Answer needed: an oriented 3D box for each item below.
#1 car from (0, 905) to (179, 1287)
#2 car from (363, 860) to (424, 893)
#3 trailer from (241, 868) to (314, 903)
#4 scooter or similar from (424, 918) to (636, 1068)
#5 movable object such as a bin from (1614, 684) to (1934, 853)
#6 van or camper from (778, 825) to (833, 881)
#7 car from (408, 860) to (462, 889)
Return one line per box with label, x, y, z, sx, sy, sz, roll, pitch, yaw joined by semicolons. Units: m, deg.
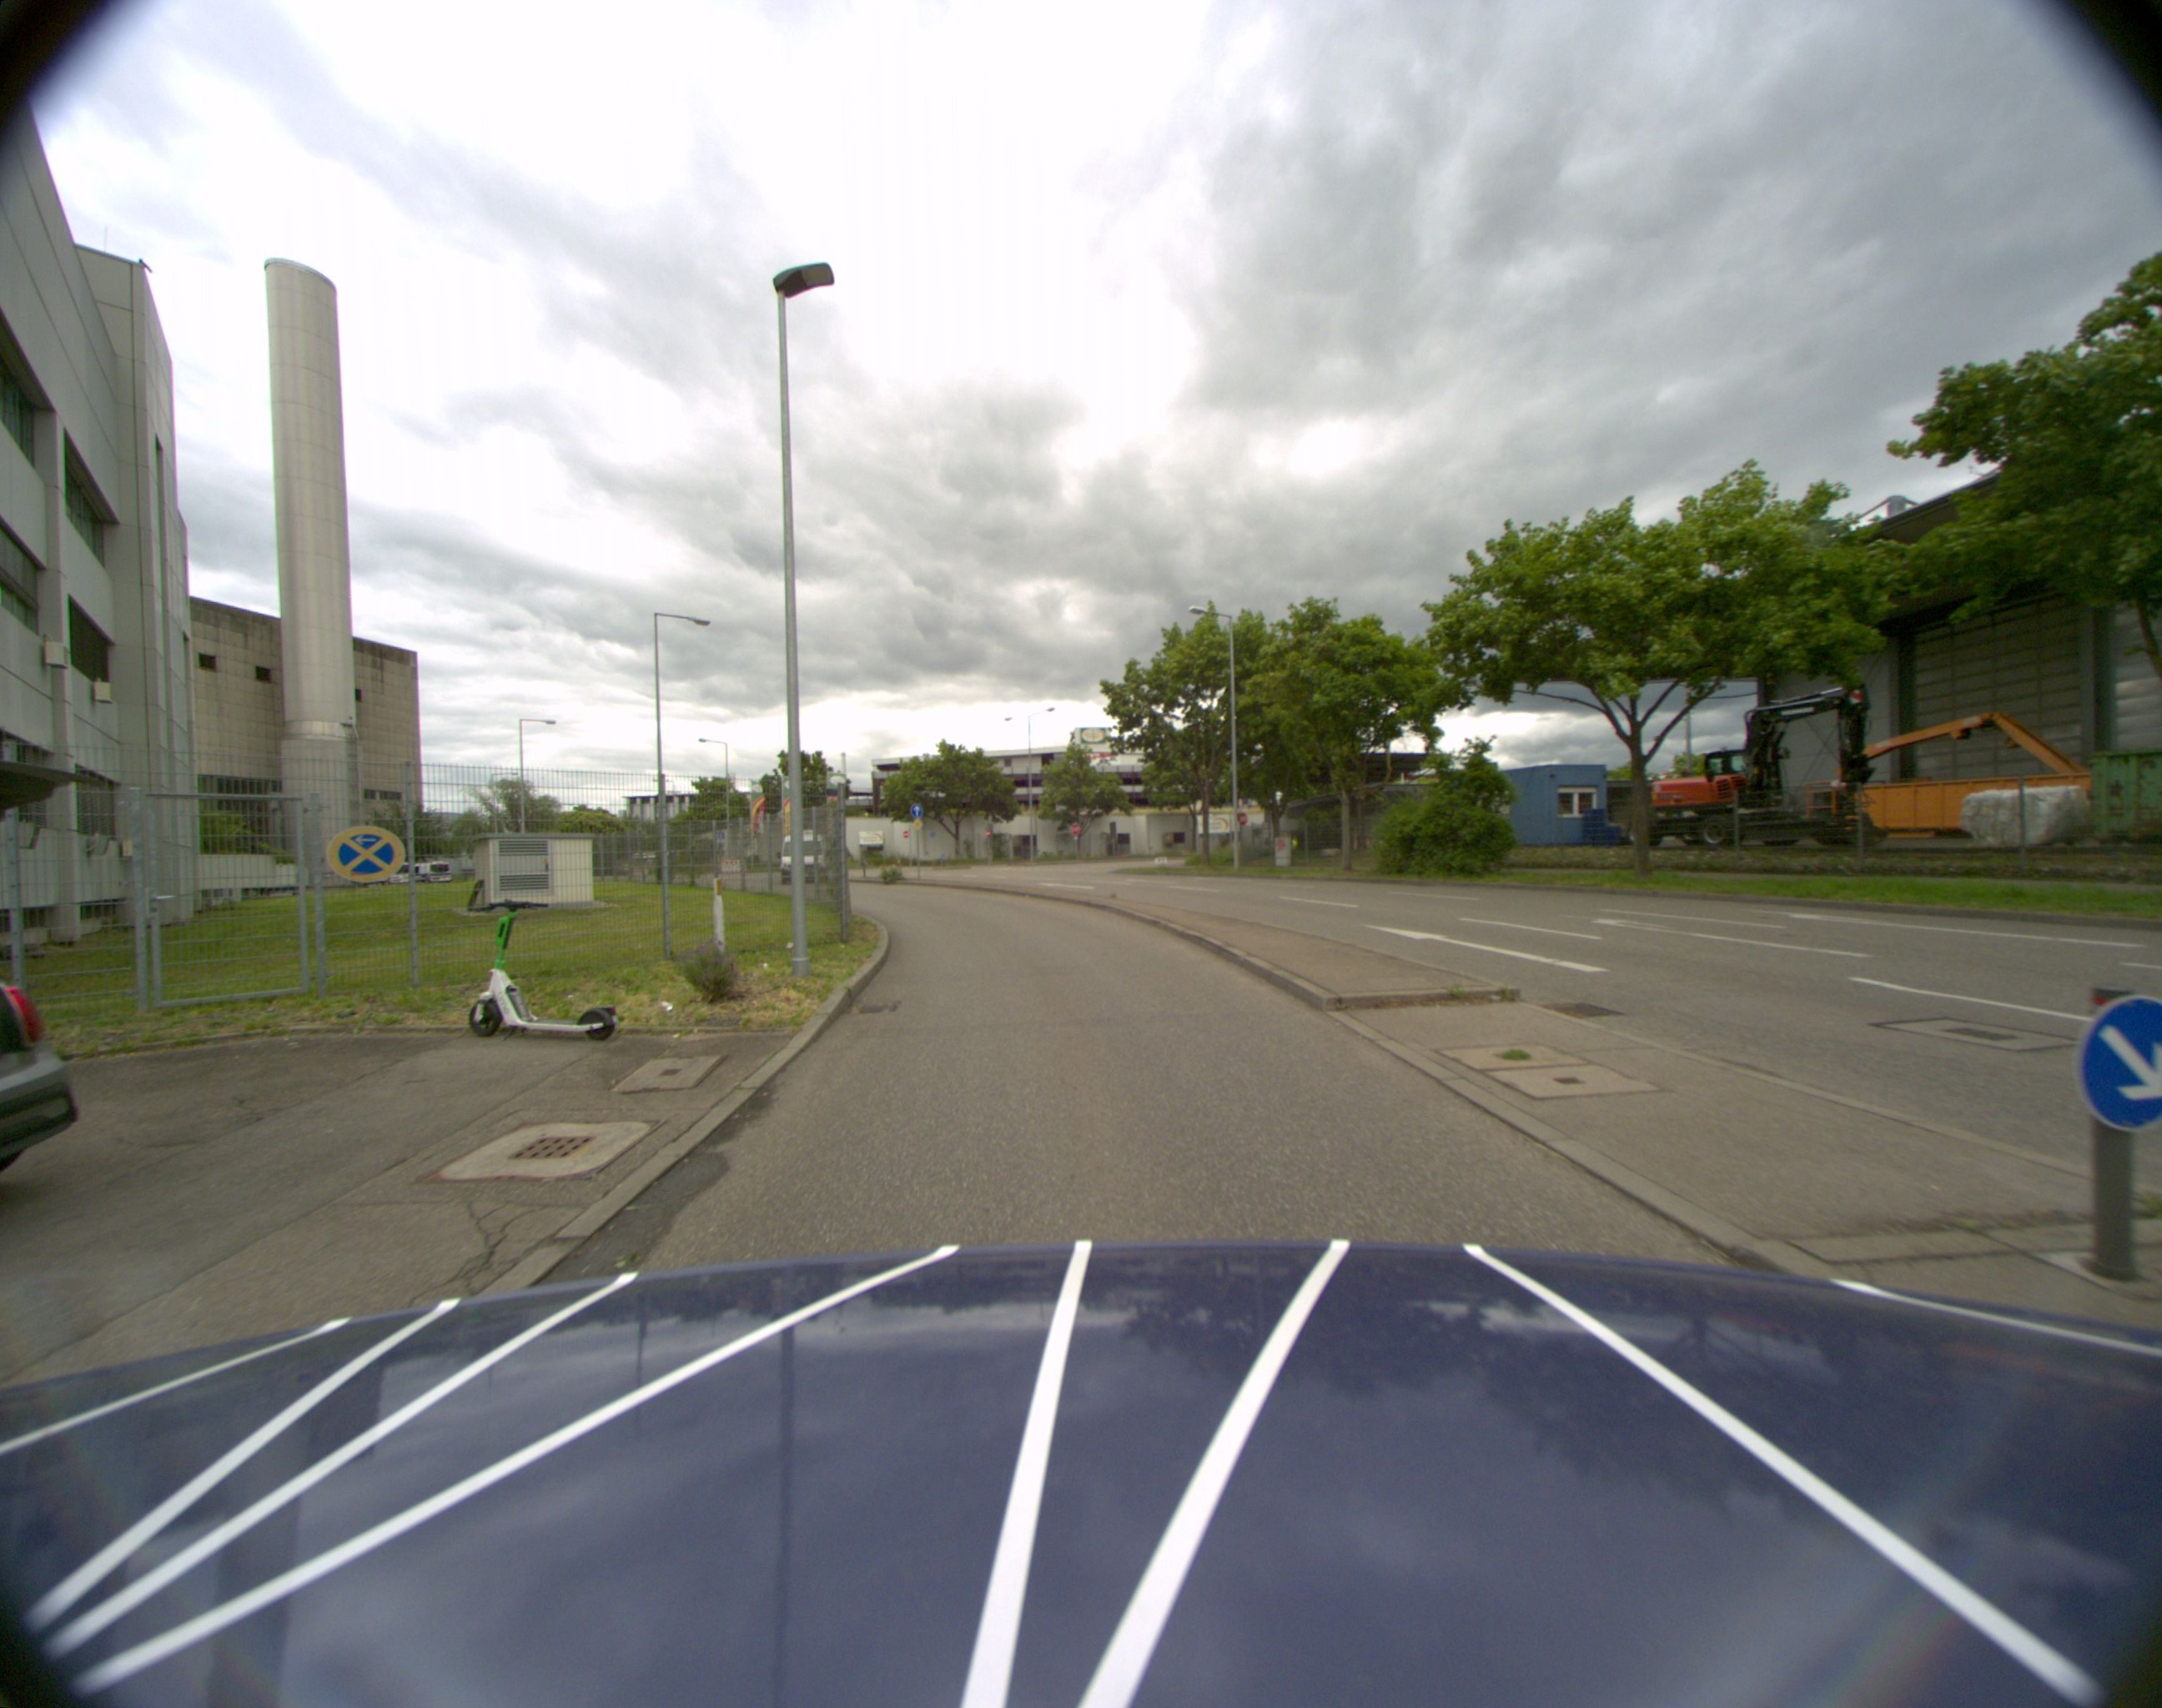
car;-6.083;1.008;2.231;4.024;1.423;1.783;-1;1;-21
car;-65.538;2.137;72.424;5.441;2.746;2.432;-5;0;28
trailer;-65.038;2.570;61.470;6.416;2.529;2.669;-2;1;31
scooter or similar;-4.508;1.115;6.256;1.418;1.127;0.480;0;1;5
movable object such as a bin;19.544;-2.129;22.111;2.734;4.067;6.547;-1;0;-10
van or camper;-13.785;-0.069;38.363;2.274;2.542;6.098;-3;1;-18
car;-64.347;2.064;75.688;5.179;2.532;2.242;-5;0;28
